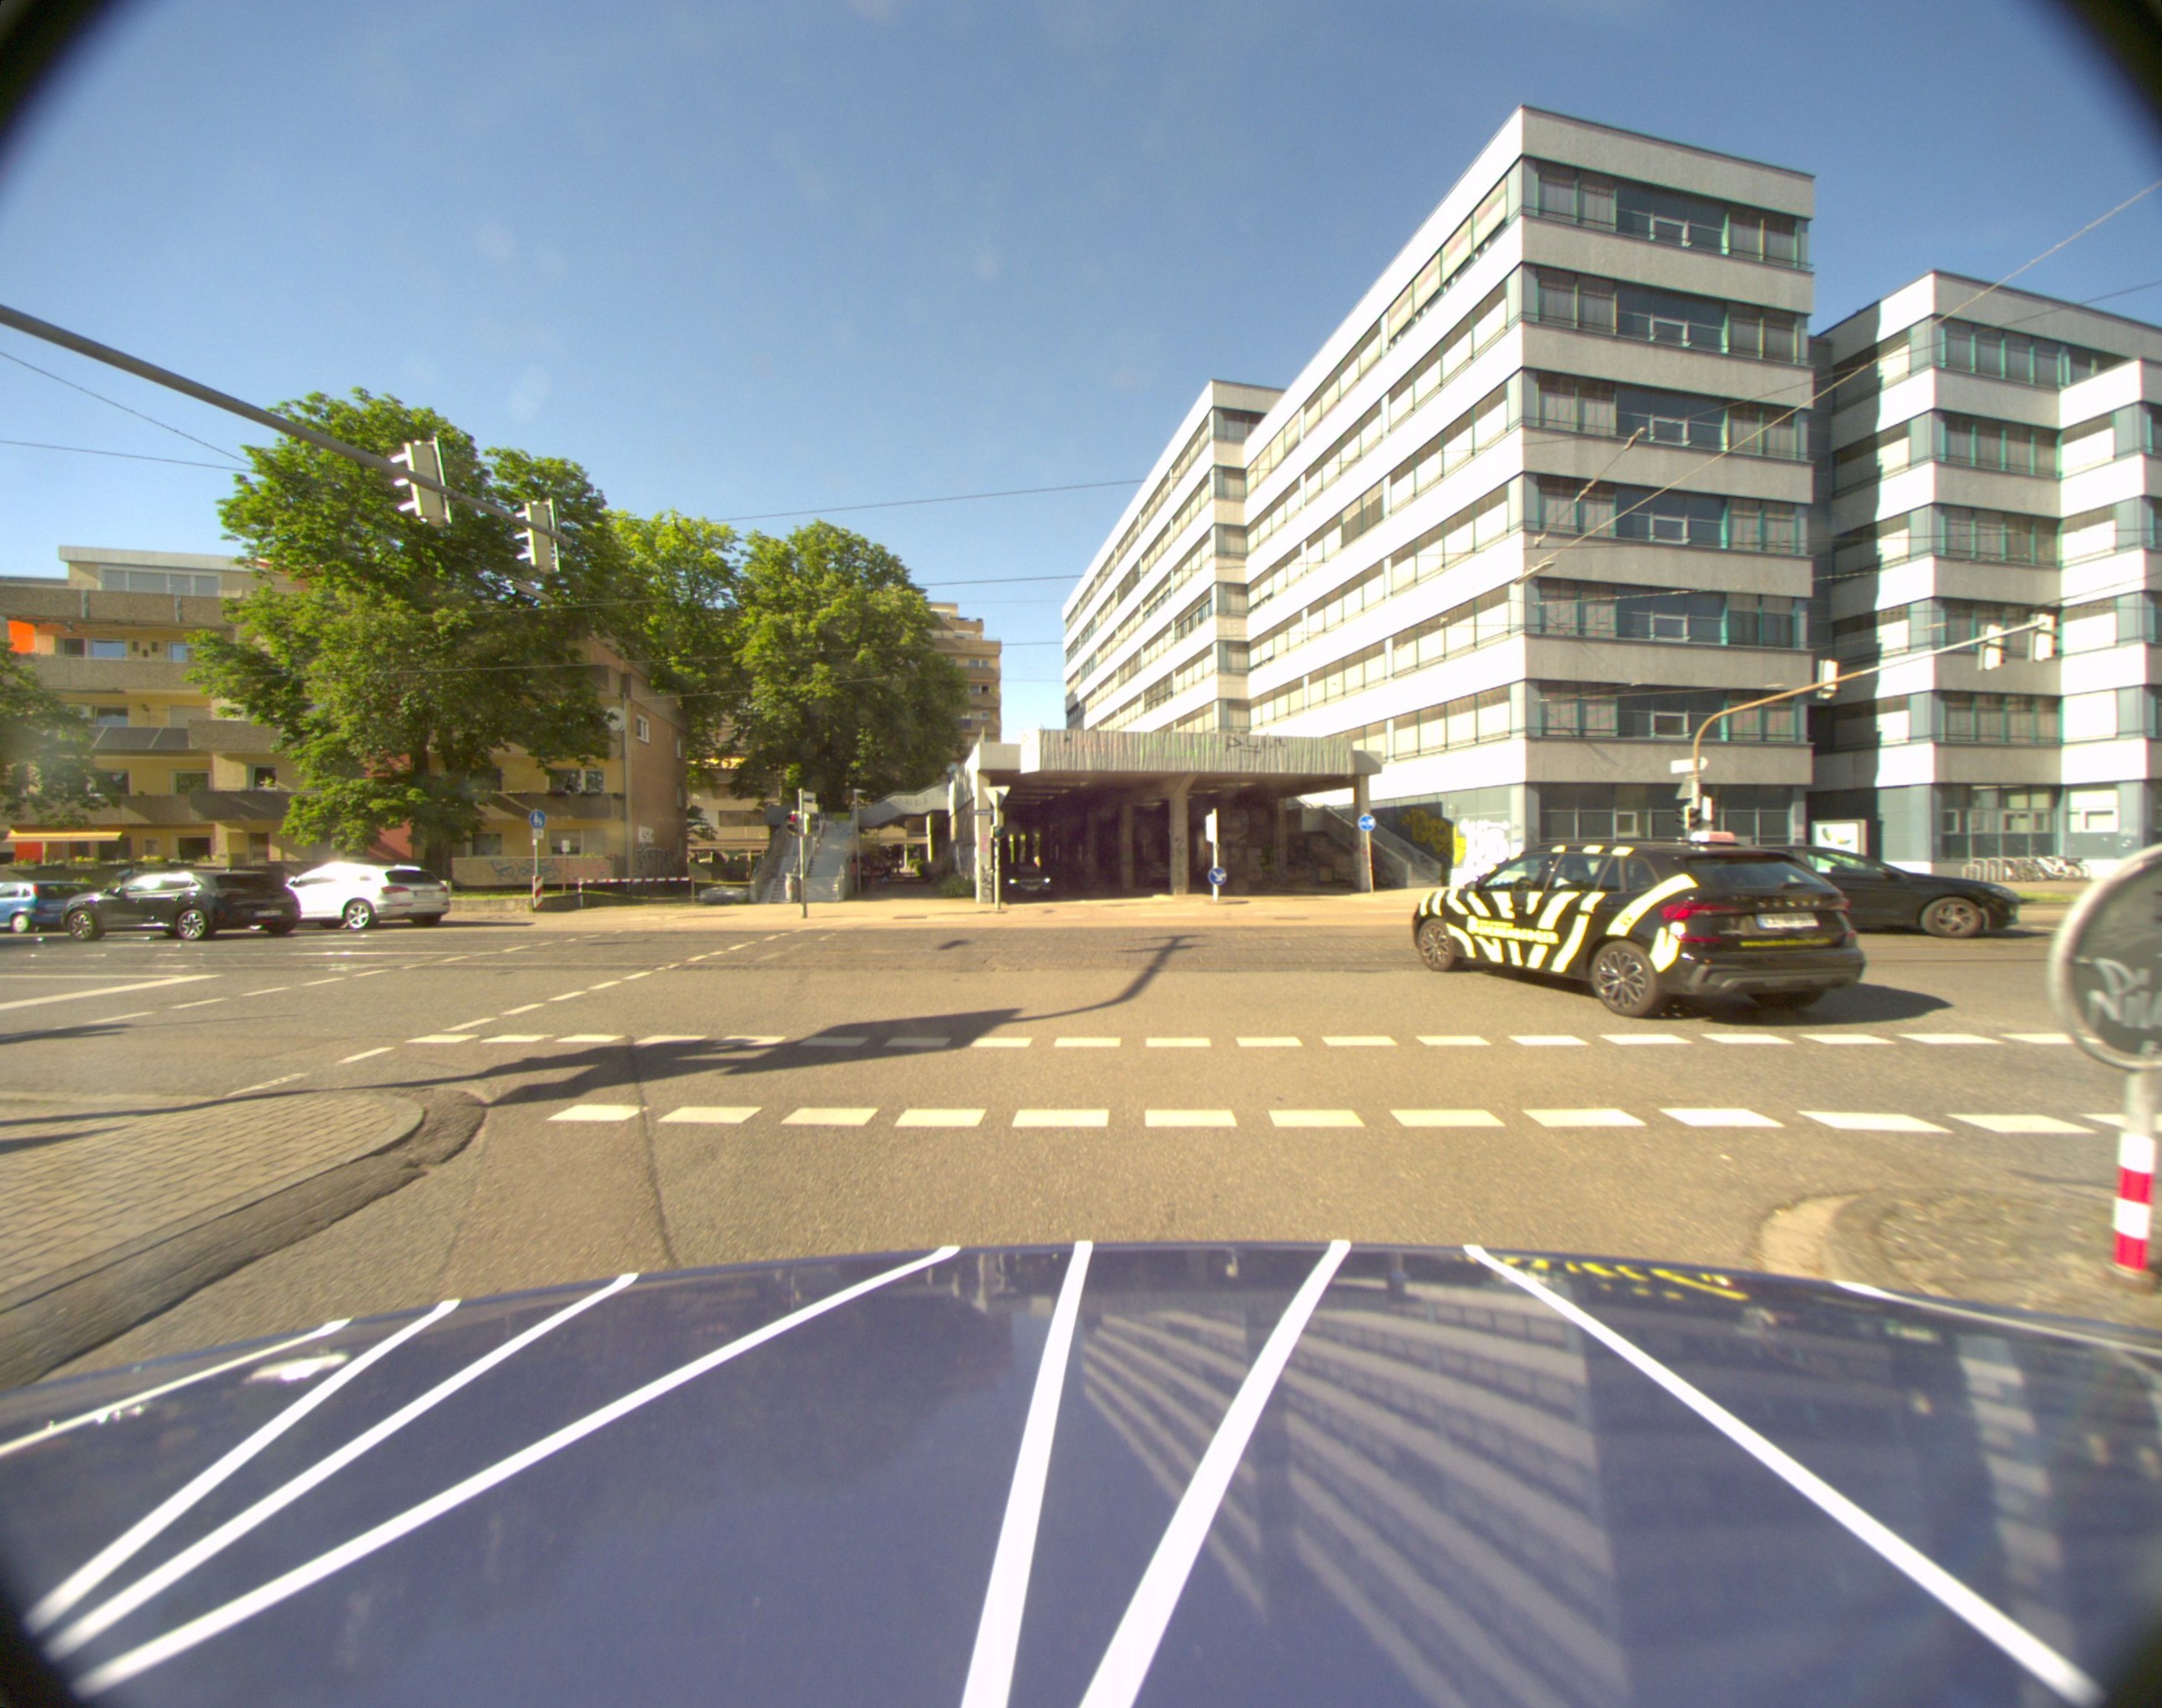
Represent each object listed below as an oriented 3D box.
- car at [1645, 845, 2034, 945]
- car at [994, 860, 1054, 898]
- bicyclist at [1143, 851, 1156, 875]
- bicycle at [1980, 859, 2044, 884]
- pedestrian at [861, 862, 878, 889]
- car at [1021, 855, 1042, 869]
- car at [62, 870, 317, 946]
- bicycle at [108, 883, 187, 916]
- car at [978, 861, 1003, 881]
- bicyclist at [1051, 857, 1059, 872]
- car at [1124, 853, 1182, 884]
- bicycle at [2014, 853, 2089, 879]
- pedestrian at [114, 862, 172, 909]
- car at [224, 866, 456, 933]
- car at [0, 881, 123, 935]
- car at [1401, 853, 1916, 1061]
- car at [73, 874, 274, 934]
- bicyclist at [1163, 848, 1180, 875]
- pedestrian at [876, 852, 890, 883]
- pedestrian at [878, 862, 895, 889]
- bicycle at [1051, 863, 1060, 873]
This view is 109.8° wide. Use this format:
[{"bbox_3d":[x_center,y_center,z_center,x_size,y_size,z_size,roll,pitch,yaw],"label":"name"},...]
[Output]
[{"bbox_3d":[12.275,0.603,12.774,4.314,1.443,1.810,-1,1,30],"label":"car"},{"bbox_3d":[-2.668,1.057,34.372,1.959,1.546,5.034,-2,0,-13],"label":"car"},{"bbox_3d":[4.821,0.621,53.442,0.608,1.623,0.909,-1,0,-13],"label":"bicyclist"},{"bbox_3d":[37.550,0.692,30.672,0.487,0.975,1.664,-2,1,-4],"label":"bicycle"},{"bbox_3d":[-10.201,1.029,36.589,0.741,1.291,0.612,-1,1,-20],"label":"pedestrian"},{"bbox_3d":[-5.443,0.873,83.299,1.663,1.433,3.459,-1,0,-13],"label":"car"},{"bbox_3d":[-19.973,1.179,17.133,3.751,1.509,1.788,-2,1,3],"label":"car"},{"bbox_3d":[-31.411,1.516,25.579,2.188,1.055,0.811,-1,1,14],"label":"bicycle"},{"bbox_3d":[-7.282,1.340,60.978,1.618,1.546,4.009,-1,0,-12],"label":"car"},{"bbox_3d":[-2.947,1.158,86.401,0.748,1.701,0.966,-1,-1,-14],"label":"bicyclist"},{"bbox_3d":[3.924,0.775,42.140,1.892,1.600,4.142,-1,0,-15],"label":"car"},{"bbox_3d":[38.949,0.454,30.525,0.487,0.975,1.899,-2,1,-4],"label":"bicycle"},{"bbox_3d":[-31.527,1.055,25.550,0.932,1.544,0.879,-1,1,15],"label":"pedestrian"},{"bbox_3d":[-19.085,1.127,19.679,4.317,1.610,1.937,0,1,5],"label":"car"},{"bbox_3d":[-29.073,1.467,20.989,3.289,1.397,1.667,0,-1,4],"label":"car"},{"bbox_3d":[5.236,0.755,7.739,1.794,1.505,4.113,-1,0,-8],"label":"car"},{"bbox_3d":[-24.655,1.332,20.727,3.505,1.522,1.656,0,-1,1],"label":"car"},{"bbox_3d":[5.731,0.474,48.030,0.785,1.650,1.030,-1,0,-13],"label":"bicyclist"},{"bbox_3d":[-10.817,0.742,41.494,0.659,1.681,0.588,-1,1,-20],"label":"pedestrian"},{"bbox_3d":[-9.436,1.020,36.870,0.725,1.291,0.588,-1,1,-20],"label":"pedestrian"},{"bbox_3d":[-2.921,1.578,86.387,0.701,1.083,1.858,-1,-2,-14],"label":"bicycle"}]
